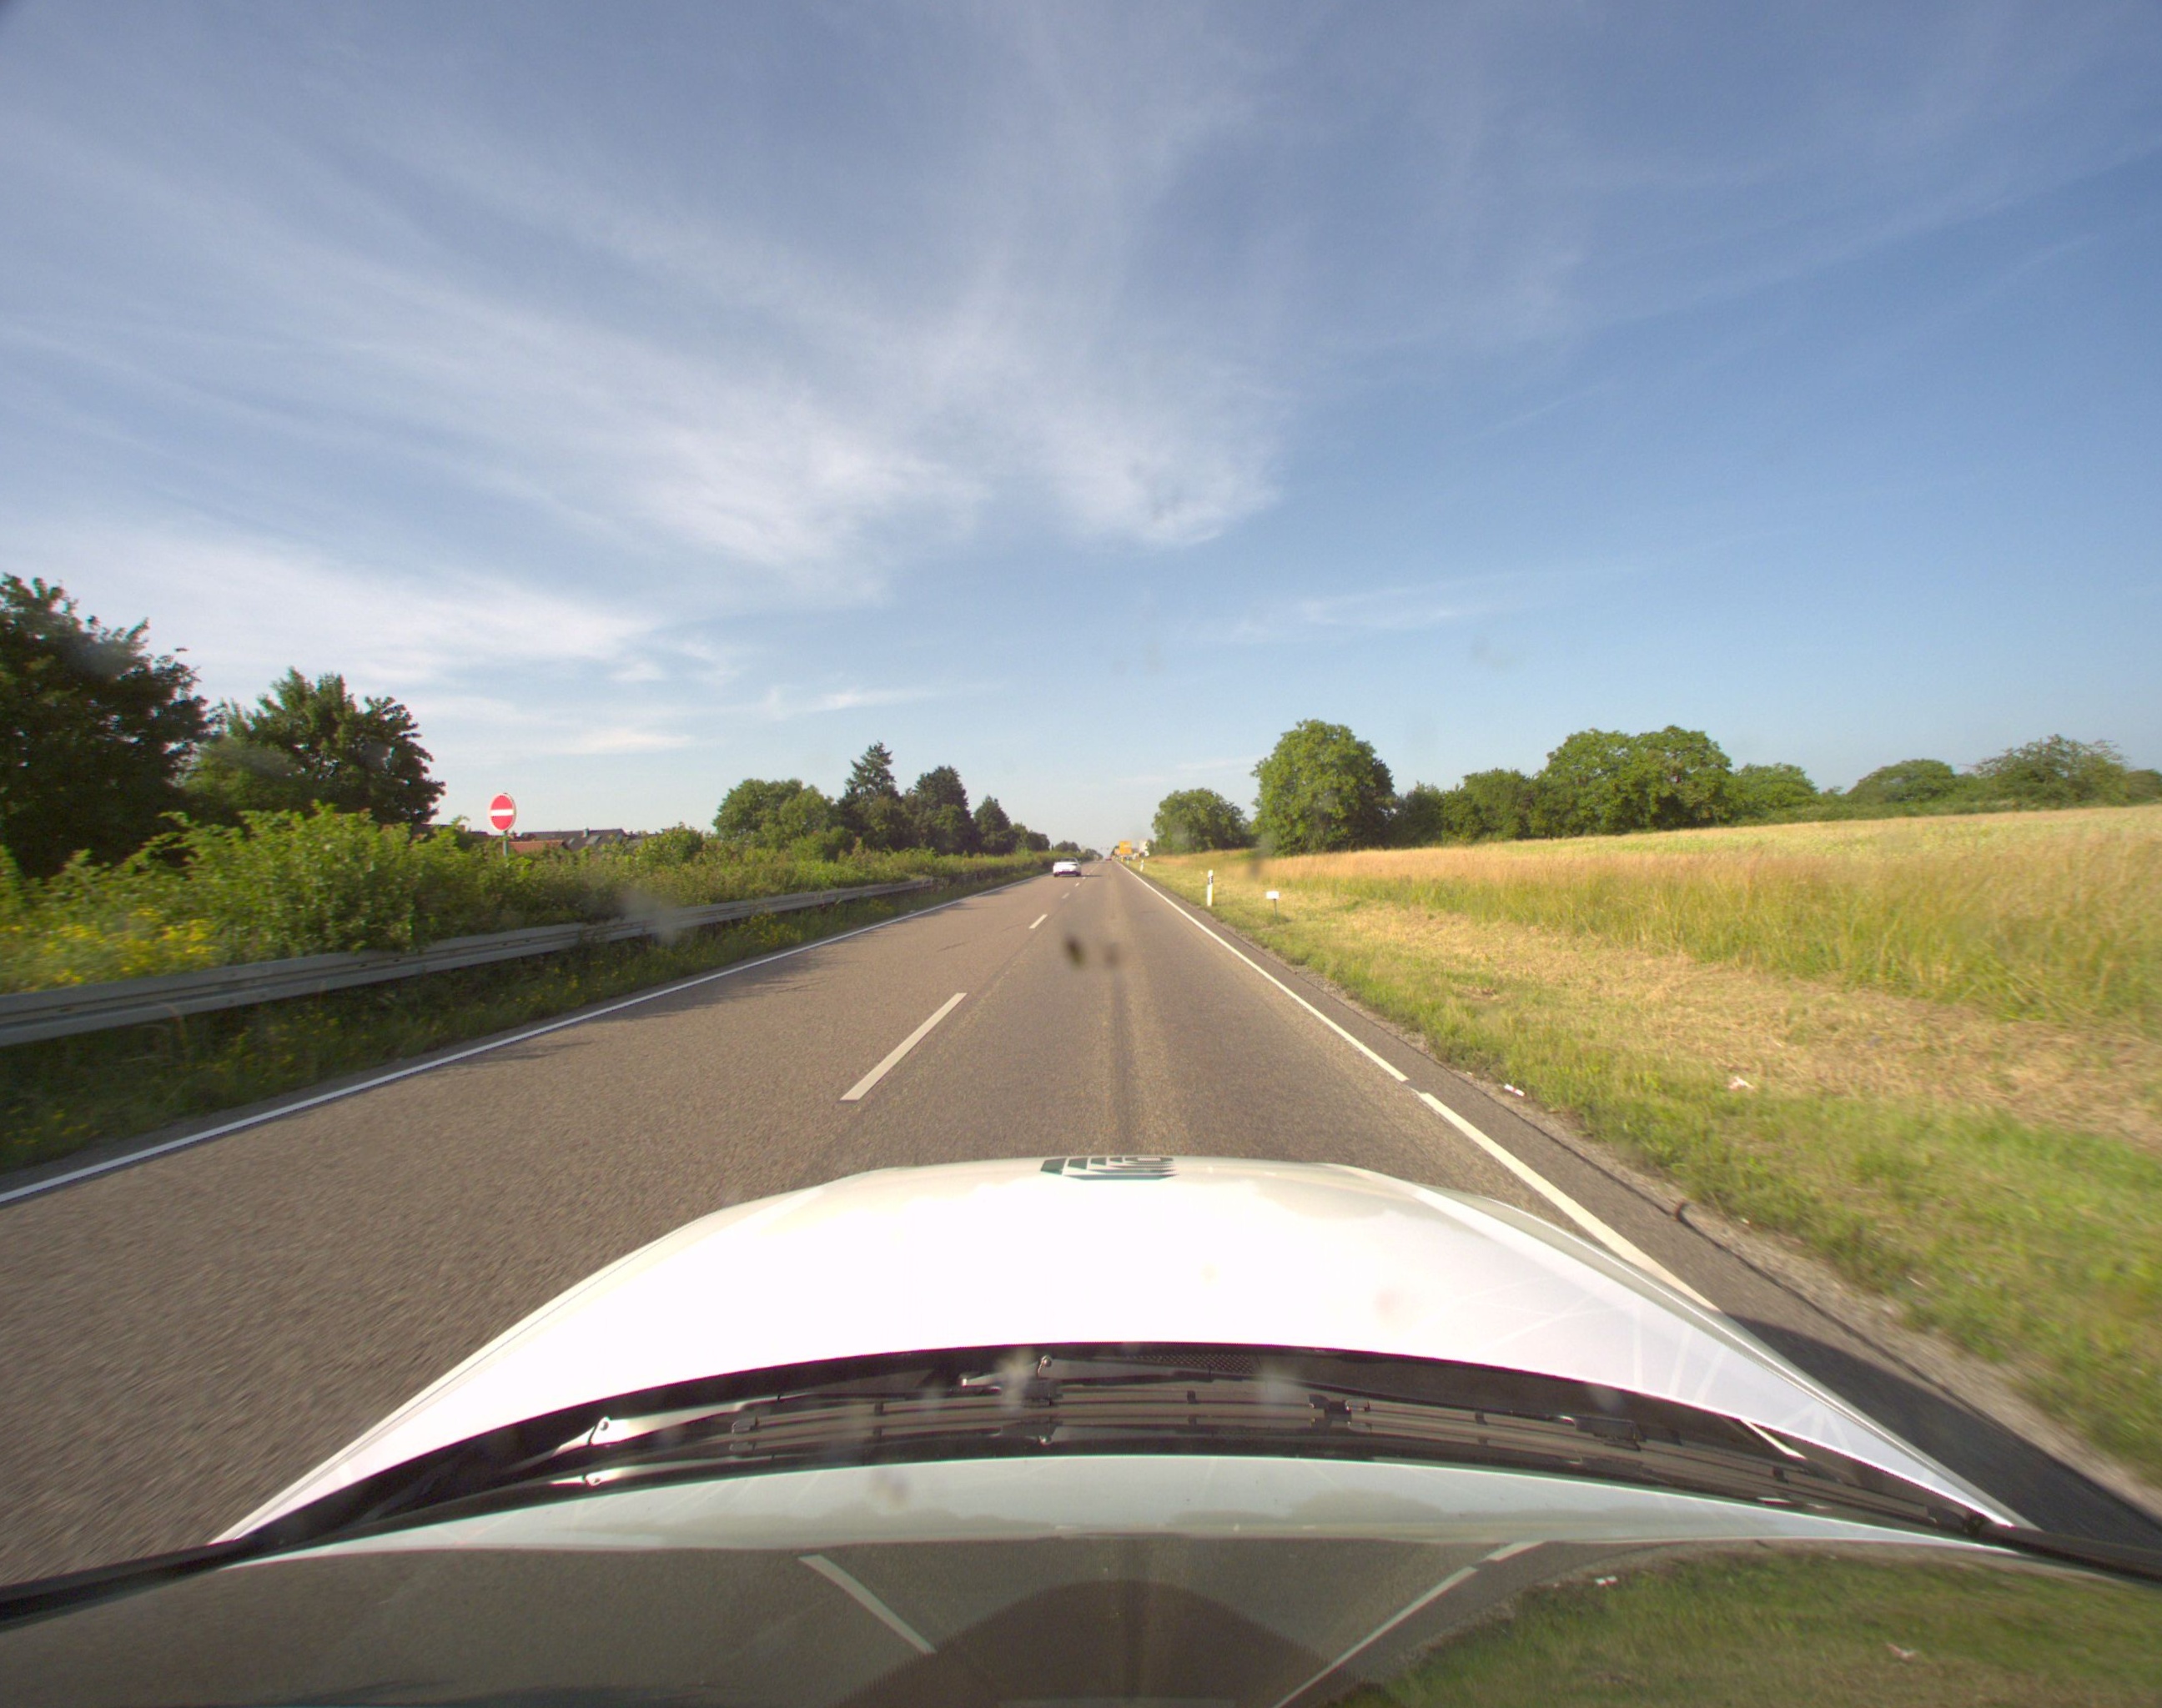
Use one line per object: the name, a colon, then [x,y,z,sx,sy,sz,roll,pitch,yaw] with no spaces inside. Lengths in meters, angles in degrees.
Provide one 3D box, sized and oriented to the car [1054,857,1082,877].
car: [-0.905,0.930,59.102,1.903,1.422,4.001,-1,0,1]
